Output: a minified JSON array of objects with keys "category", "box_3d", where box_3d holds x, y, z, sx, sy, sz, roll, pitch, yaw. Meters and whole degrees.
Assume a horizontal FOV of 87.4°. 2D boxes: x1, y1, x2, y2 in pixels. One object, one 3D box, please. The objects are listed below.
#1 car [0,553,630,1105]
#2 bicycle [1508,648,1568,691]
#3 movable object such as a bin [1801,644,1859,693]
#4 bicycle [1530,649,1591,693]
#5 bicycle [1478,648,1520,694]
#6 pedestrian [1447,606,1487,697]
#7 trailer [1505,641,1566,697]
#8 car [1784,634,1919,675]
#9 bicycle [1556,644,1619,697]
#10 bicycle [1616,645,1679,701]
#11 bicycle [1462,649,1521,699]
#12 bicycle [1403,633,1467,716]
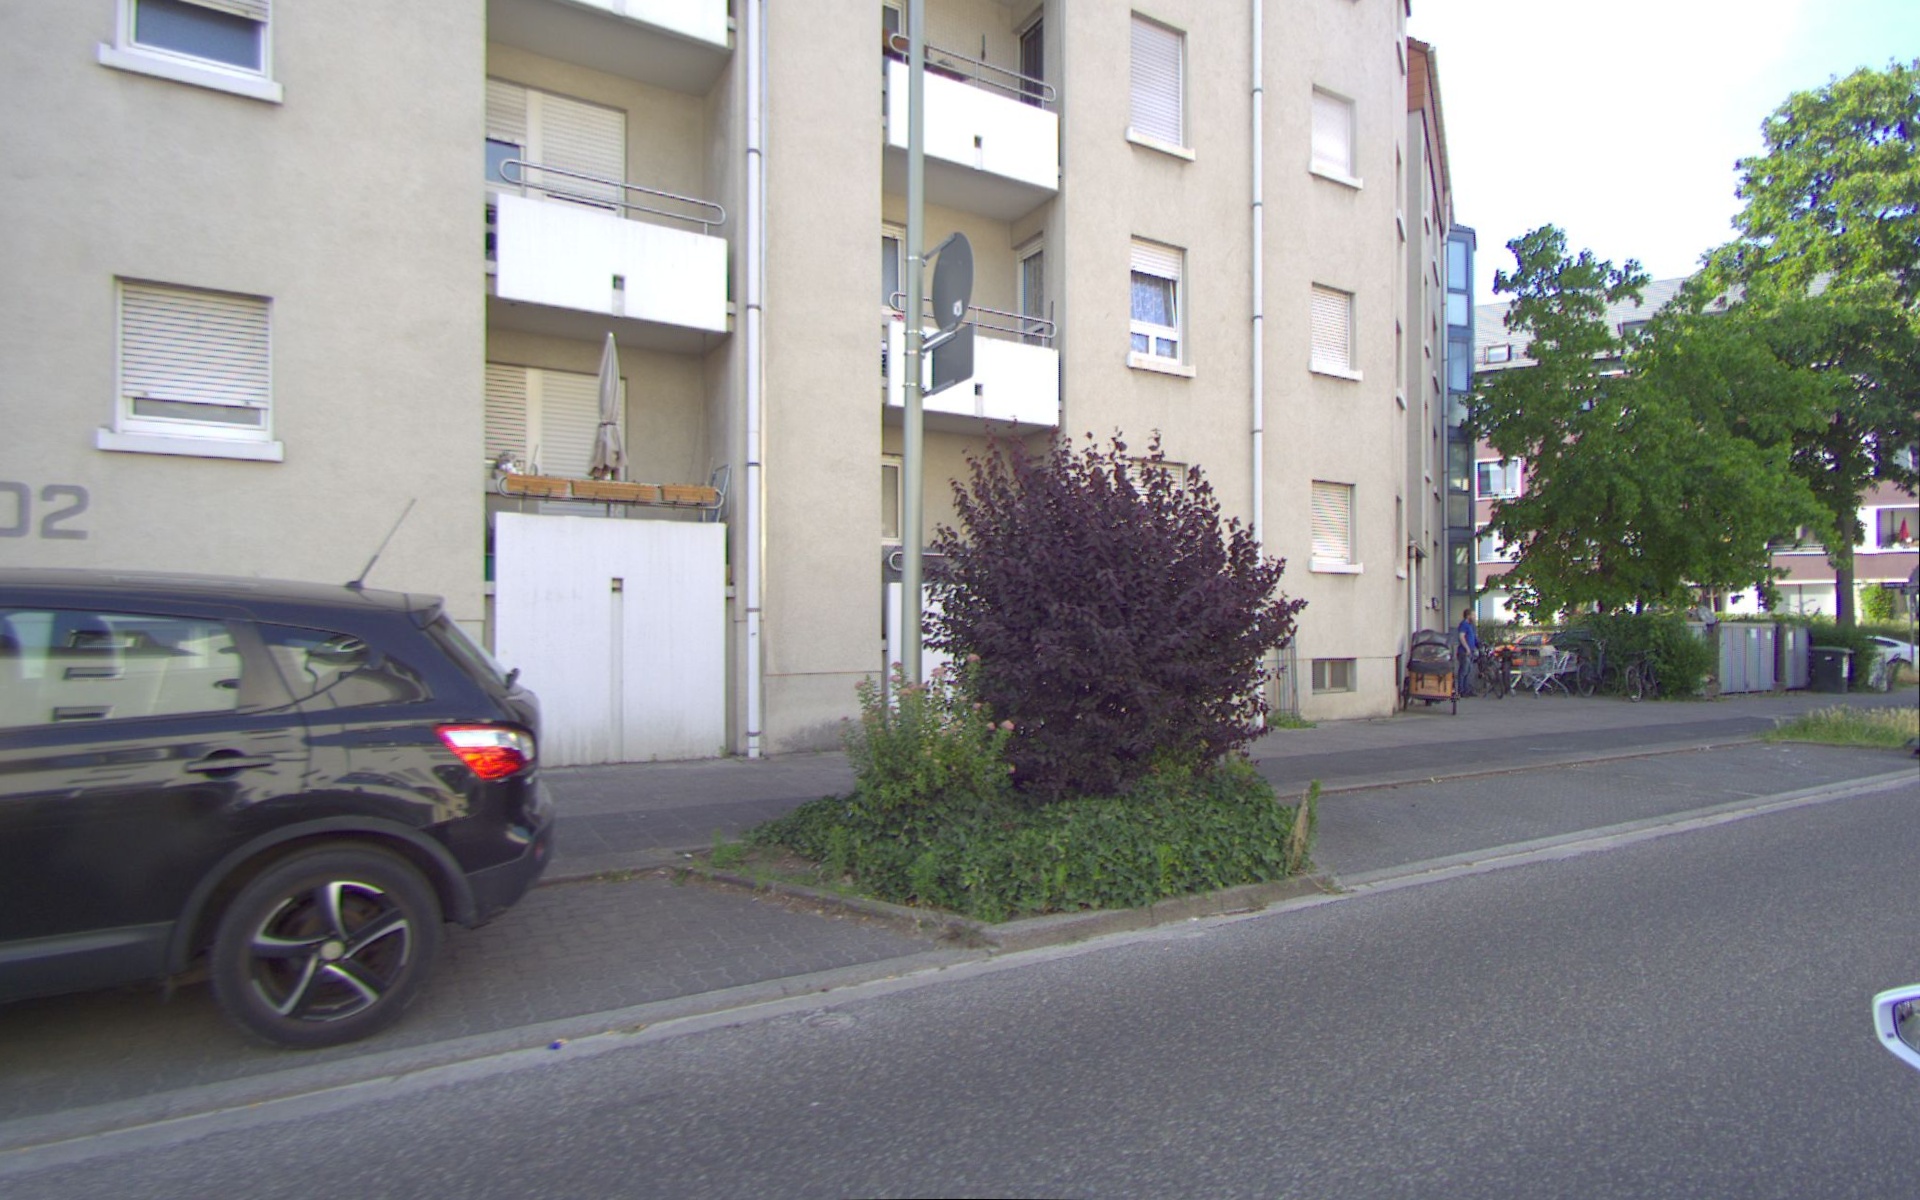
[{"category":"car","box_3d":[-3.560,0.672,3.489,4.321,1.624,1.677,1,-1,-32]},{"category":"bicycle","box_3d":[12.317,1.455,21.387,1.665,0.863,0.458,1,-1,-35]},{"category":"movable object such as a bin","box_3d":[19.993,1.562,23.094,0.807,1.054,0.748,1,2,-30]},{"category":"bicycle","box_3d":[12.509,1.472,20.912,1.665,0.863,0.458,1,-1,-35]},{"category":"bicycle","box_3d":[11.099,1.452,20.718,0.453,0.893,1.241,0,-1,13]},{"category":"pedestrian","box_3d":[9.909,1.000,19.629,0.519,1.746,0.441,1,1,-30]},{"category":"trailer","box_3d":[11.290,1.338,19.729,0.894,1.070,0.584,1,-1,-15]},{"category":"car","box_3d":[30.000,1.796,33.655,3.395,1.305,1.662,-1,-2,28]},{"category":"bicycle","box_3d":[12.670,1.405,20.258,1.665,1.006,0.458,1,-1,-35]},{"category":"bicycle","box_3d":[13.530,1.420,19.755,1.665,1.036,0.458,1,-1,-35]},{"category":"bicycle","box_3d":[10.462,1.433,19.807,0.454,0.863,1.454,0,1,3]},{"category":"bicycle","box_3d":[7.645,1.167,16.141,0.874,1.266,1.209,0,-1,28]}]
